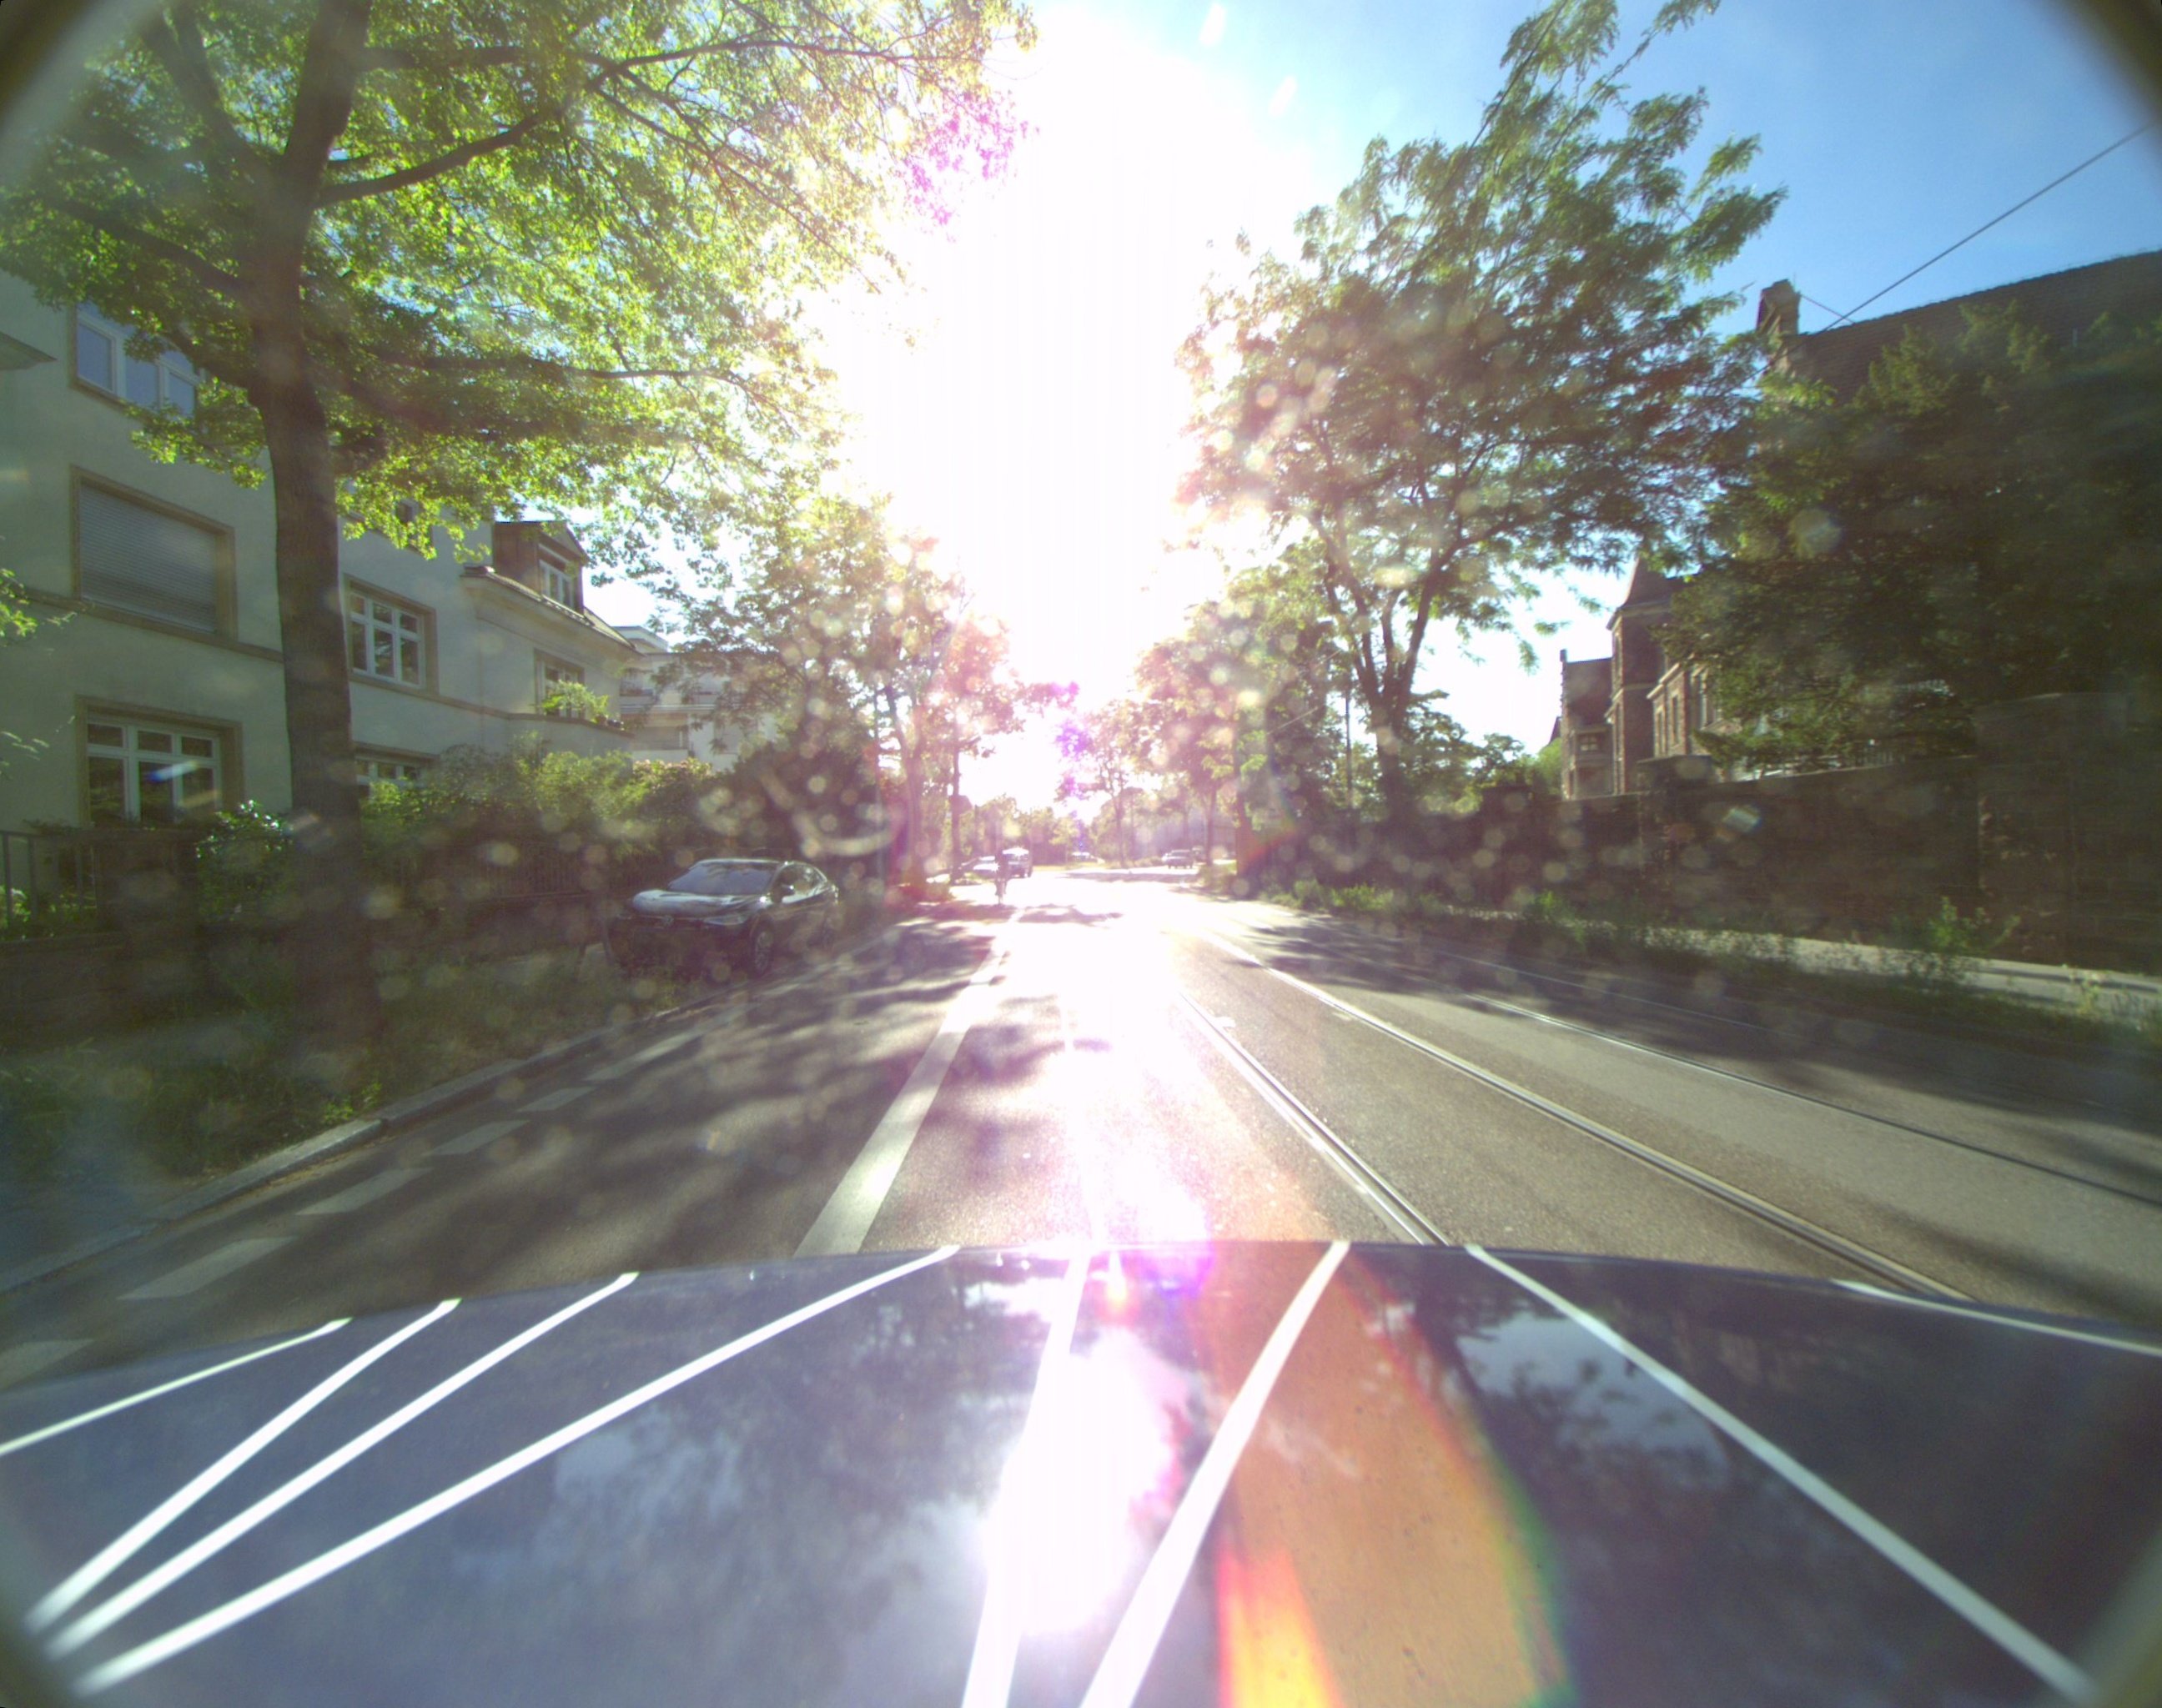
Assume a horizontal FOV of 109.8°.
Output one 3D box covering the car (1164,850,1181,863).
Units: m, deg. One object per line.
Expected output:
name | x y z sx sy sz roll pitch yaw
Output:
car | 11.913 0.311 98.725 1.997 1.539 4.002 -2 0 8

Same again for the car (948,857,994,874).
car | -10.043 1.046 69.542 3.998 1.433 1.813 -2 0 -3

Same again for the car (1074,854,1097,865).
car | 0.750 0.914 128.793 3.908 1.683 1.905 -2 1 -1

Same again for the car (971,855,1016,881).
car | -5.166 0.794 45.337 1.901 1.402 4.260 -1 0 4

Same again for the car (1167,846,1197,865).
car | 10.102 0.131 75.580 1.874 1.805 4.974 -1 0 20

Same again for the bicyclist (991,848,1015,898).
bicyclist | -2.585 0.621 25.190 0.644 1.632 0.665 -2 1 1

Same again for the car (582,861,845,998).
car | -5.199 0.949 11.511 1.919 1.590 4.258 2 0 -1

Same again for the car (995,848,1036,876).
car | -4.404 0.506 51.693 1.900 1.775 4.670 -1 0 6

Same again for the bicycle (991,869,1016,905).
bicycle | -2.561 1.070 25.316 0.588 1.105 1.855 -2 0 1
